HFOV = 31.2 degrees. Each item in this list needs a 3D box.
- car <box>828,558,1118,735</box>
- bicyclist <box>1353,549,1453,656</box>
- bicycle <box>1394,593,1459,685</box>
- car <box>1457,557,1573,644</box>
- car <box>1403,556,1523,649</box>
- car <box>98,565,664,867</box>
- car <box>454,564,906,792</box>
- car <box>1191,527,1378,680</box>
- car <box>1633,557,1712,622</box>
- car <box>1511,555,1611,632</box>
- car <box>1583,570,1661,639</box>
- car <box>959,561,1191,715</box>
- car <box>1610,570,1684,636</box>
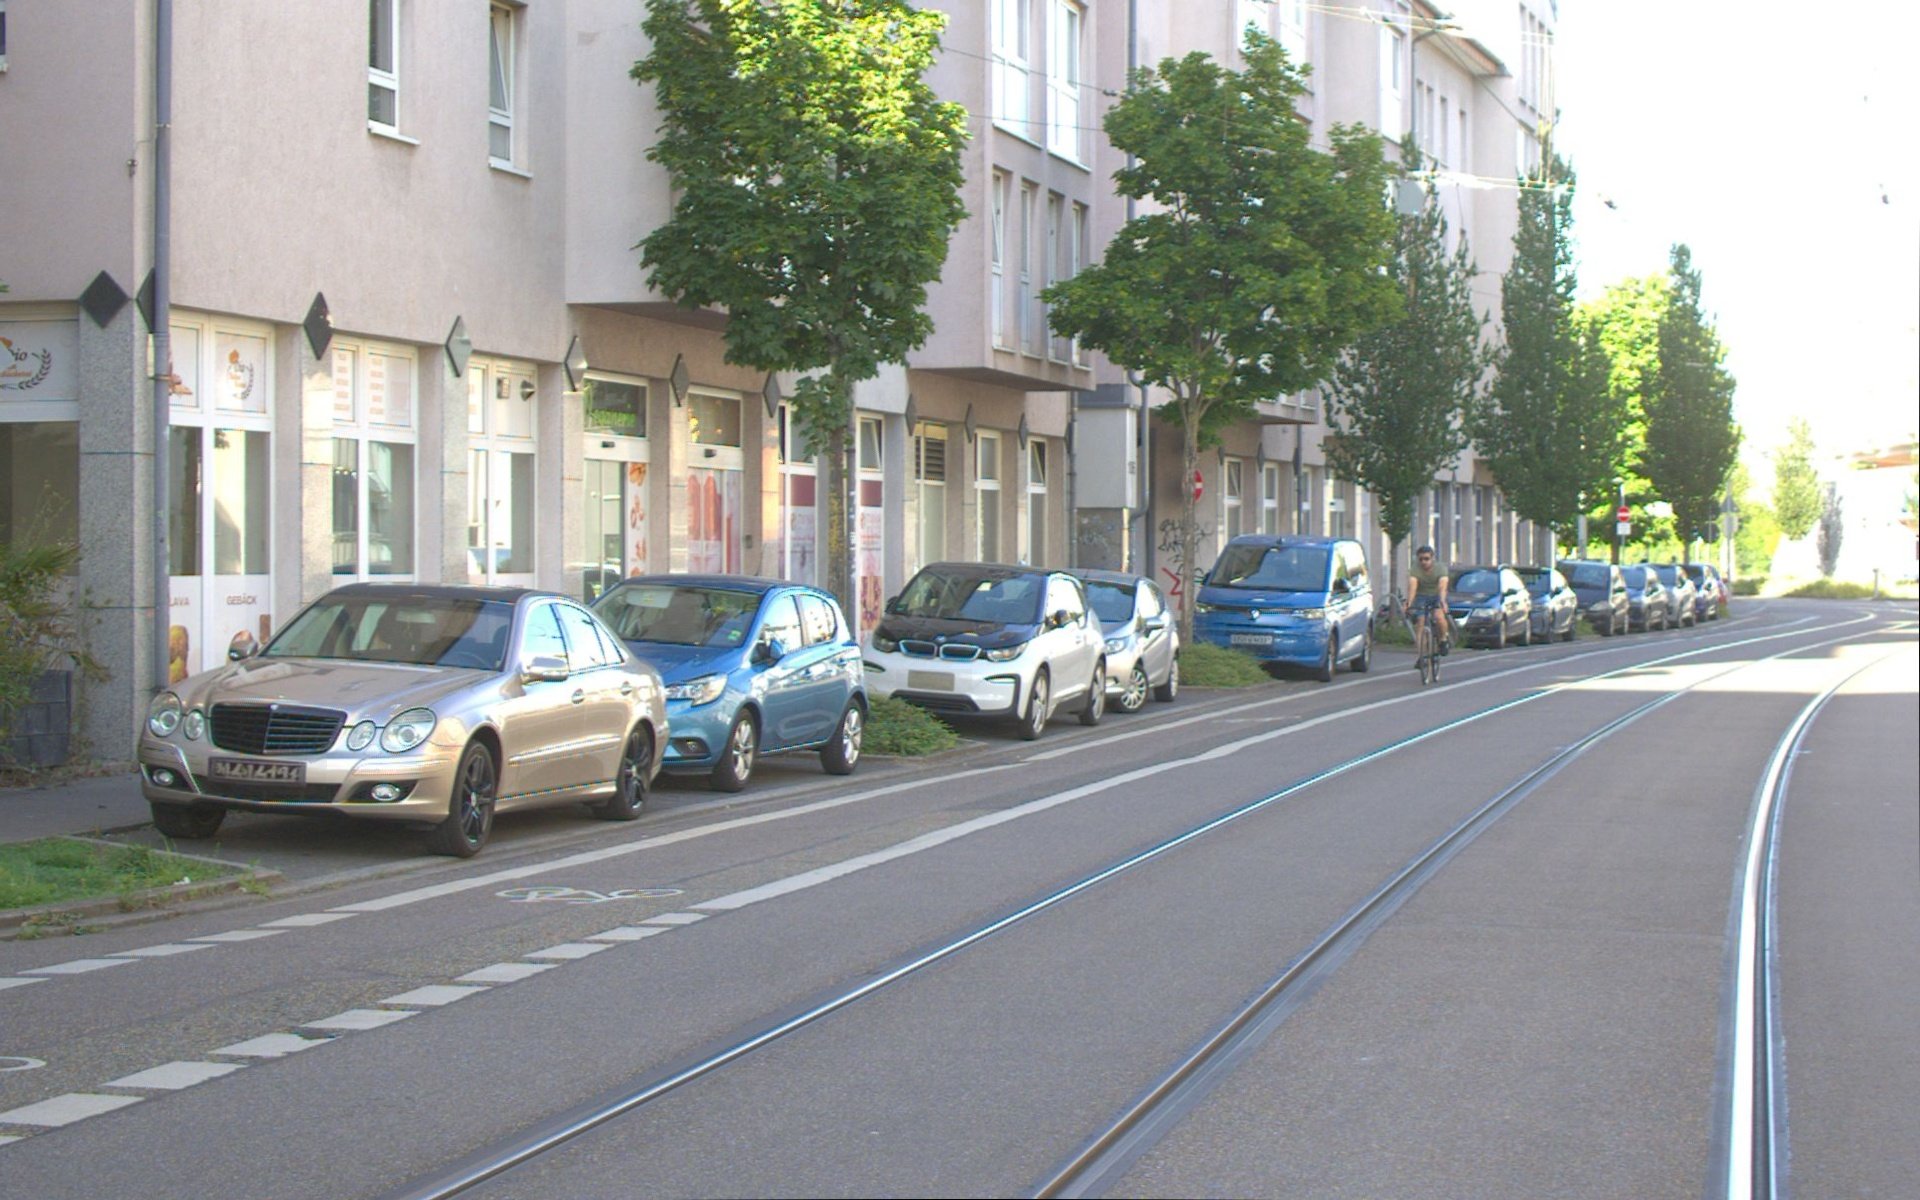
[{"bbox_3d":[0.197,0.397,33.328,1.831,1.588,3.997,0,1,15],"label":"car"},{"bbox_3d":[5.617,0.021,43.525,1.184,1.326,1.094,0,1,11],"label":"bicyclist"},{"bbox_3d":[5.880,0.480,43.308,0.622,1.098,1.959,-2,0,12],"label":"bicycle"},{"bbox_3d":[10.872,-0.023,67.117,1.845,1.640,4.546,0,1,14],"label":"car"},{"bbox_3d":[9.106,0.020,62.040,1.666,1.612,3.997,0,1,15],"label":"car"},{"bbox_3d":[-3.174,0.572,19.684,1.745,1.438,3.998,3,2,13],"label":"car"},{"bbox_3d":[-1.950,0.519,25.247,1.831,1.484,3.996,-2,0,19],"label":"car"},{"bbox_3d":[4.469,0.016,46.825,1.666,1.980,4.339,0,1,18],"label":"car"},{"bbox_3d":[18.505,-0.292,89.208,1.845,1.640,3.695,0,1,14],"label":"car"},{"bbox_3d":[13.263,-0.179,75.679,1.845,1.640,4.546,0,1,14],"label":"car"},{"bbox_3d":[15.275,0.078,79.273,1.592,1.535,3.189,0,1,14],"label":"car"},{"bbox_3d":[1.334,0.372,38.036,1.831,1.588,3.998,0,1,13],"label":"car"},{"bbox_3d":[16.619,0.059,83.124,1.592,1.535,3.189,0,1,14],"label":"car"}]
